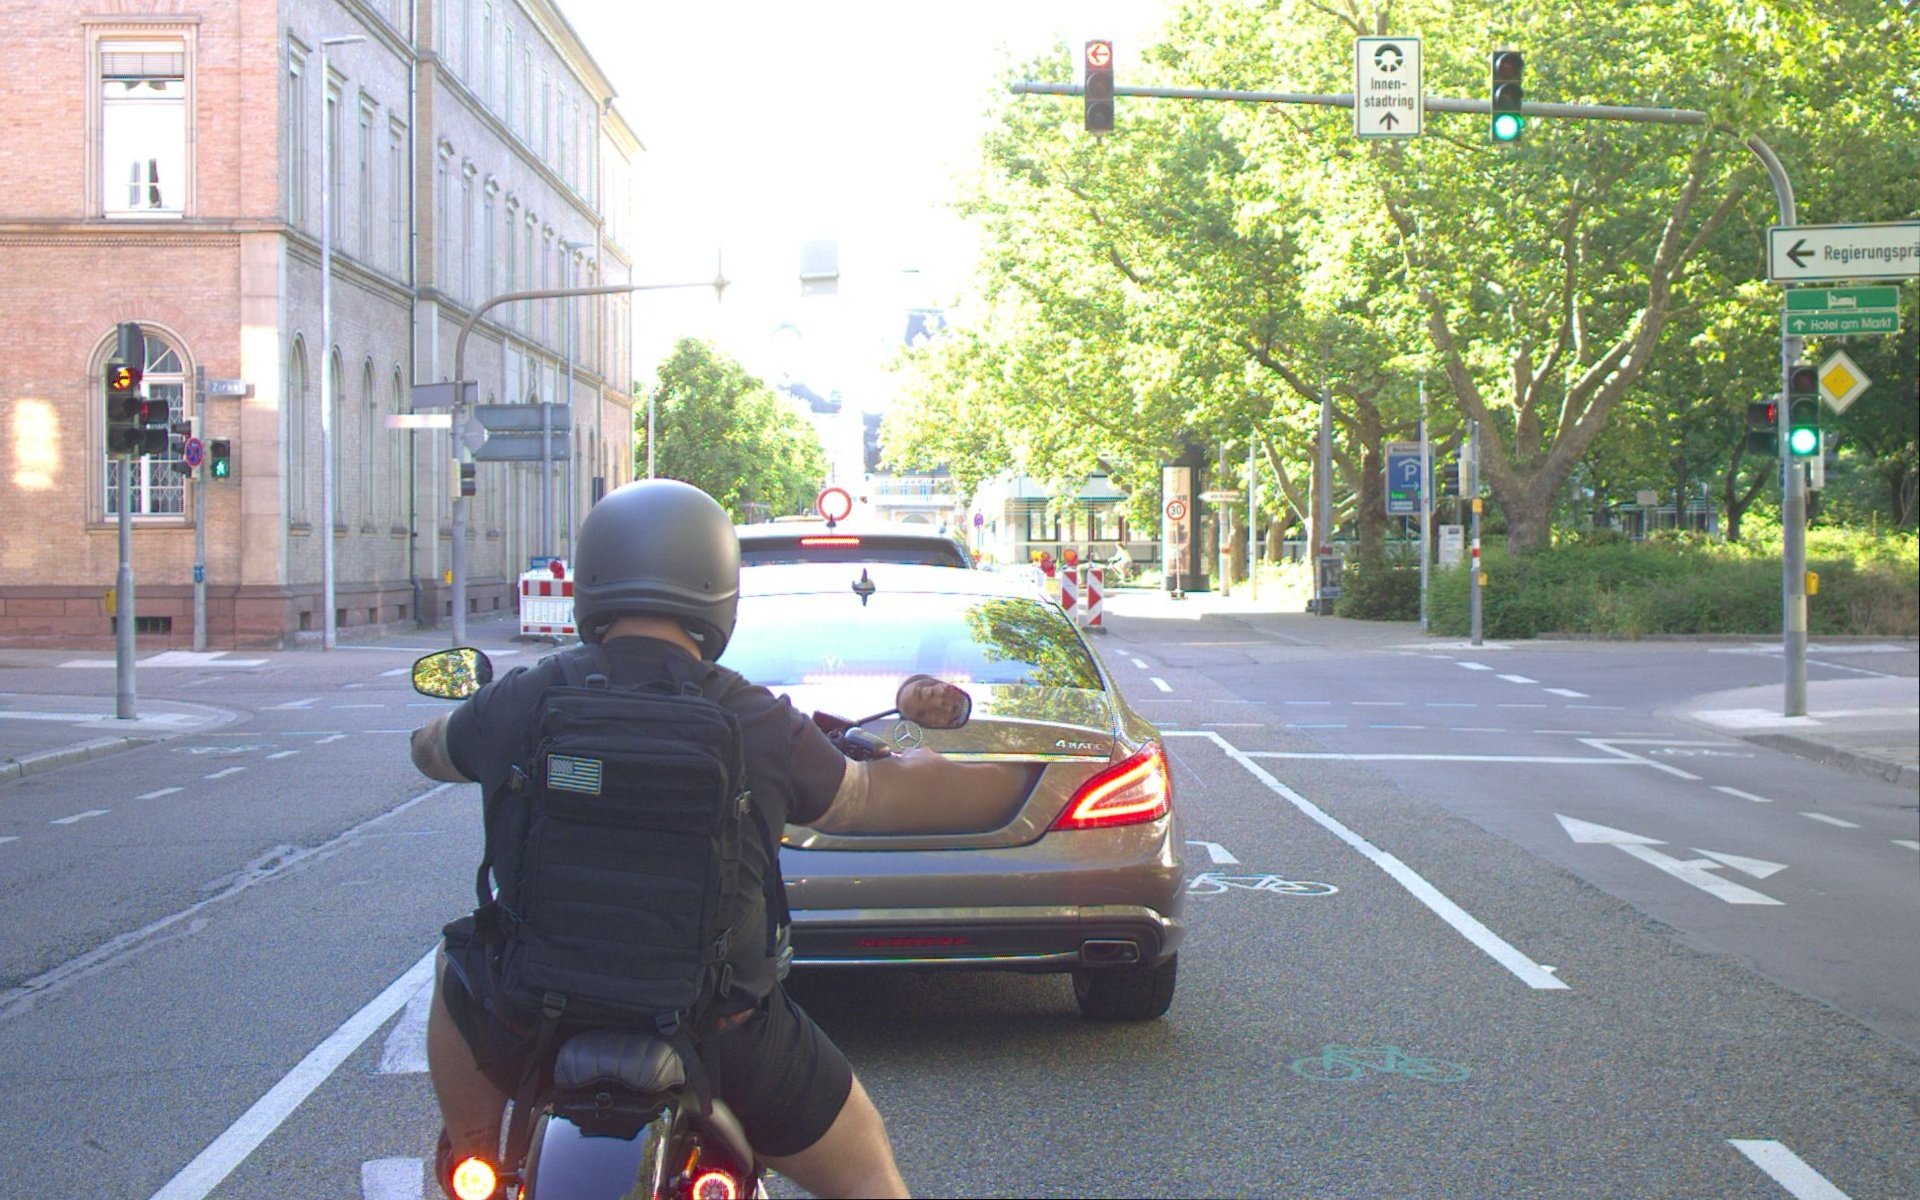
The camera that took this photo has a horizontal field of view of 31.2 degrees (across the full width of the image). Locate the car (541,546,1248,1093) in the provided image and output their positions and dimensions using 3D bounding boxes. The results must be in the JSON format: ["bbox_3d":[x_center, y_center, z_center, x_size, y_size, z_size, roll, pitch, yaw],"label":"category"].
[{"bbox_3d":[-0.432,0.560,11.598,1.945,1.468,4.363,0,1,-7],"label":"car"}]

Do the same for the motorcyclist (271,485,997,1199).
[{"bbox_3d":[-0.452,0.626,5.404,0.989,1.591,1.404,0,1,-1],"label":"motorcyclist"}]

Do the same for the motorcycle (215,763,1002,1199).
[{"bbox_3d":[-0.456,0.882,5.562,0.989,1.075,2.452,0,1,-1],"label":"motorcycle"}]

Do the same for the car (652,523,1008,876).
[{"bbox_3d":[-0.638,0.410,17.764,1.612,1.602,4.329,0,1,-1],"label":"car"}]
